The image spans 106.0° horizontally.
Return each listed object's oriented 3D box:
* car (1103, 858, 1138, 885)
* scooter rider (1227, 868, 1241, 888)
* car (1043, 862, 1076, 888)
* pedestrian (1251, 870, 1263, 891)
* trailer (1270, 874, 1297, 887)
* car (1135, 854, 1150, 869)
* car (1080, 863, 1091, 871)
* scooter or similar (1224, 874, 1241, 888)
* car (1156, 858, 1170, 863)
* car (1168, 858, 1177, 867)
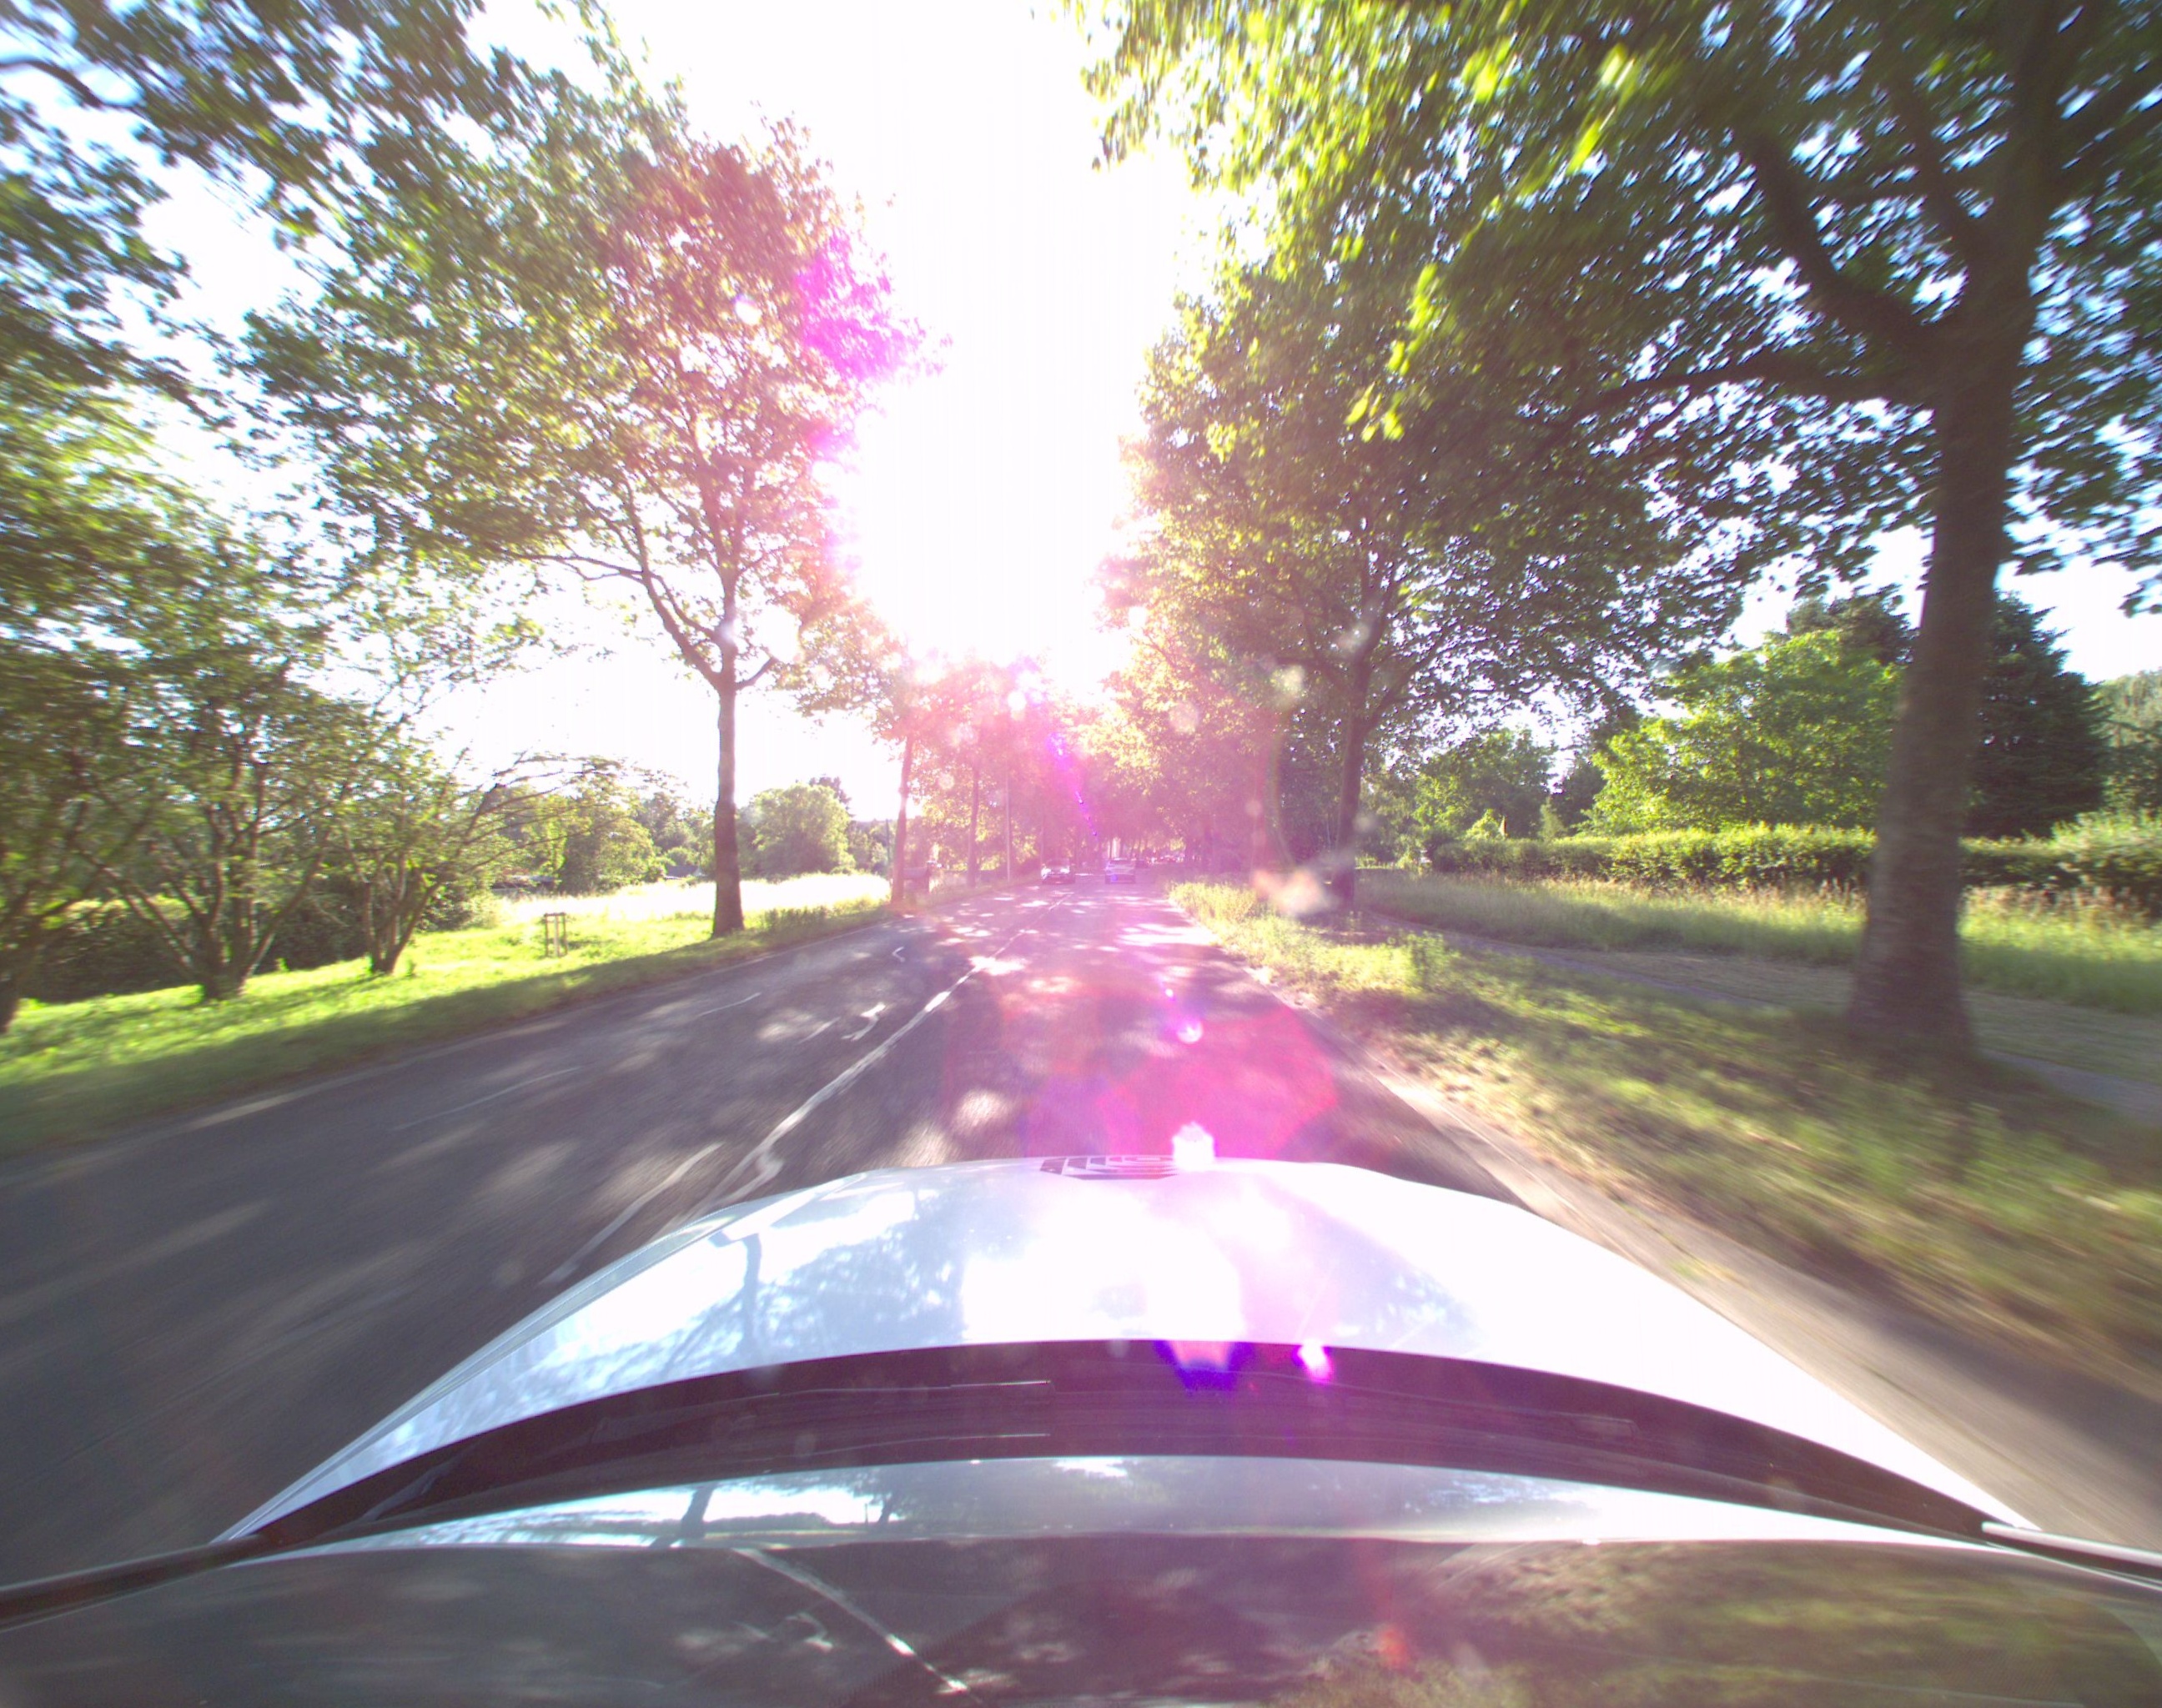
[{"bbox_3d":[2.434,1.062,49.490,1.985,1.574,4.004,-1,-1,4],"label":"car"},{"bbox_3d":[12.284,1.908,65.448,0.849,1.576,0.776,1,-2,-37],"label":"scooter rider"},{"bbox_3d":[-1.269,1.234,49.441,1.708,1.505,4.003,0,-1,3],"label":"car"},{"bbox_3d":[13.486,2.057,62.390,0.836,1.576,1.211,-1,-1,12],"label":"pedestrian"},{"bbox_3d":[16.980,2.188,68.373,2.105,1.052,1.203,-1,-1,8],"label":"trailer"},{"bbox_3d":[8.239,1.029,109.611,1.984,2.014,4.005,-1,-1,4],"label":"car"},{"bbox_3d":[0.842,2.329,151.232,1.743,1.304,4.006,-2,0,5],"label":"car"},{"bbox_3d":[12.155,2.174,65.368,1.608,1.135,0.337,1,-2,-40],"label":"scooter or similar"},{"bbox_3d":[23.601,1.919,234.961,3.960,1.478,2.006,-1,-1,12],"label":"car"},{"bbox_3d":[21.122,2.013,188.290,1.983,2.014,4.007,-1,-1,6],"label":"car"}]
